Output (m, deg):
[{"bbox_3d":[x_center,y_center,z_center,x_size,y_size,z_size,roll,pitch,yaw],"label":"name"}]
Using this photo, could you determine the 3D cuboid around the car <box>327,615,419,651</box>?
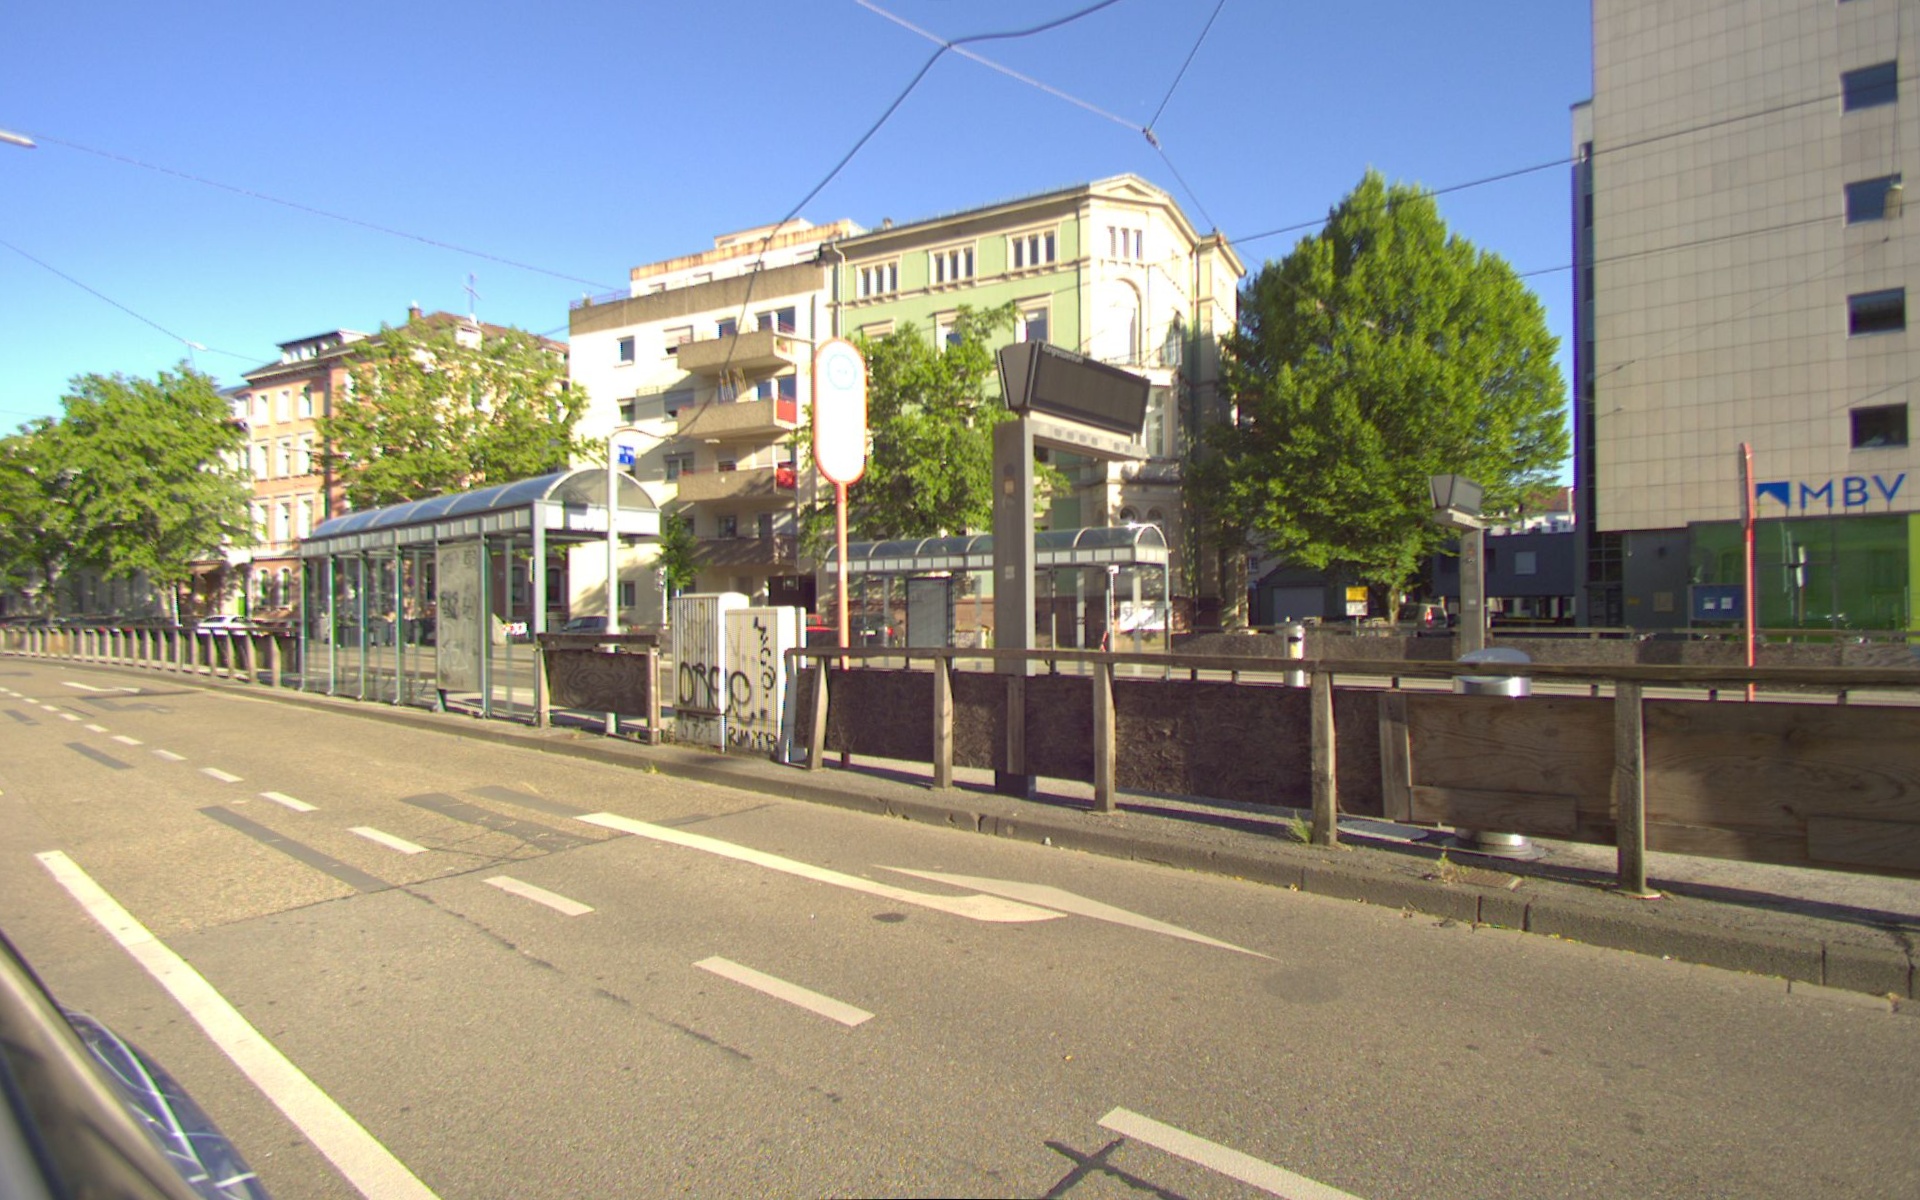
[{"bbox_3d":[-28.402,1.559,49.046,1.626,1.579,3.560,-1,0,33],"label":"car"}]

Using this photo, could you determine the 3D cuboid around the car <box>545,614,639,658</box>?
[{"bbox_3d":[-14.035,1.333,38.510,3.592,1.579,1.612,-1,0,35],"label":"car"}]

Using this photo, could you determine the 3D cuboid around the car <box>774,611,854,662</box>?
[{"bbox_3d":[-4.923,1.215,34.558,1.614,1.579,3.588,-1,0,11],"label":"car"}]

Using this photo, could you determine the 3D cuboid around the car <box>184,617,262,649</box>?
[{"bbox_3d":[-39.402,1.740,54.203,1.607,1.579,3.601,-1,0,-2],"label":"car"}]

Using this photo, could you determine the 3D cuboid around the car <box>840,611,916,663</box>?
[{"bbox_3d":[-2.650,1.185,33.362,1.614,1.579,3.588,-1,0,11],"label":"car"}]
